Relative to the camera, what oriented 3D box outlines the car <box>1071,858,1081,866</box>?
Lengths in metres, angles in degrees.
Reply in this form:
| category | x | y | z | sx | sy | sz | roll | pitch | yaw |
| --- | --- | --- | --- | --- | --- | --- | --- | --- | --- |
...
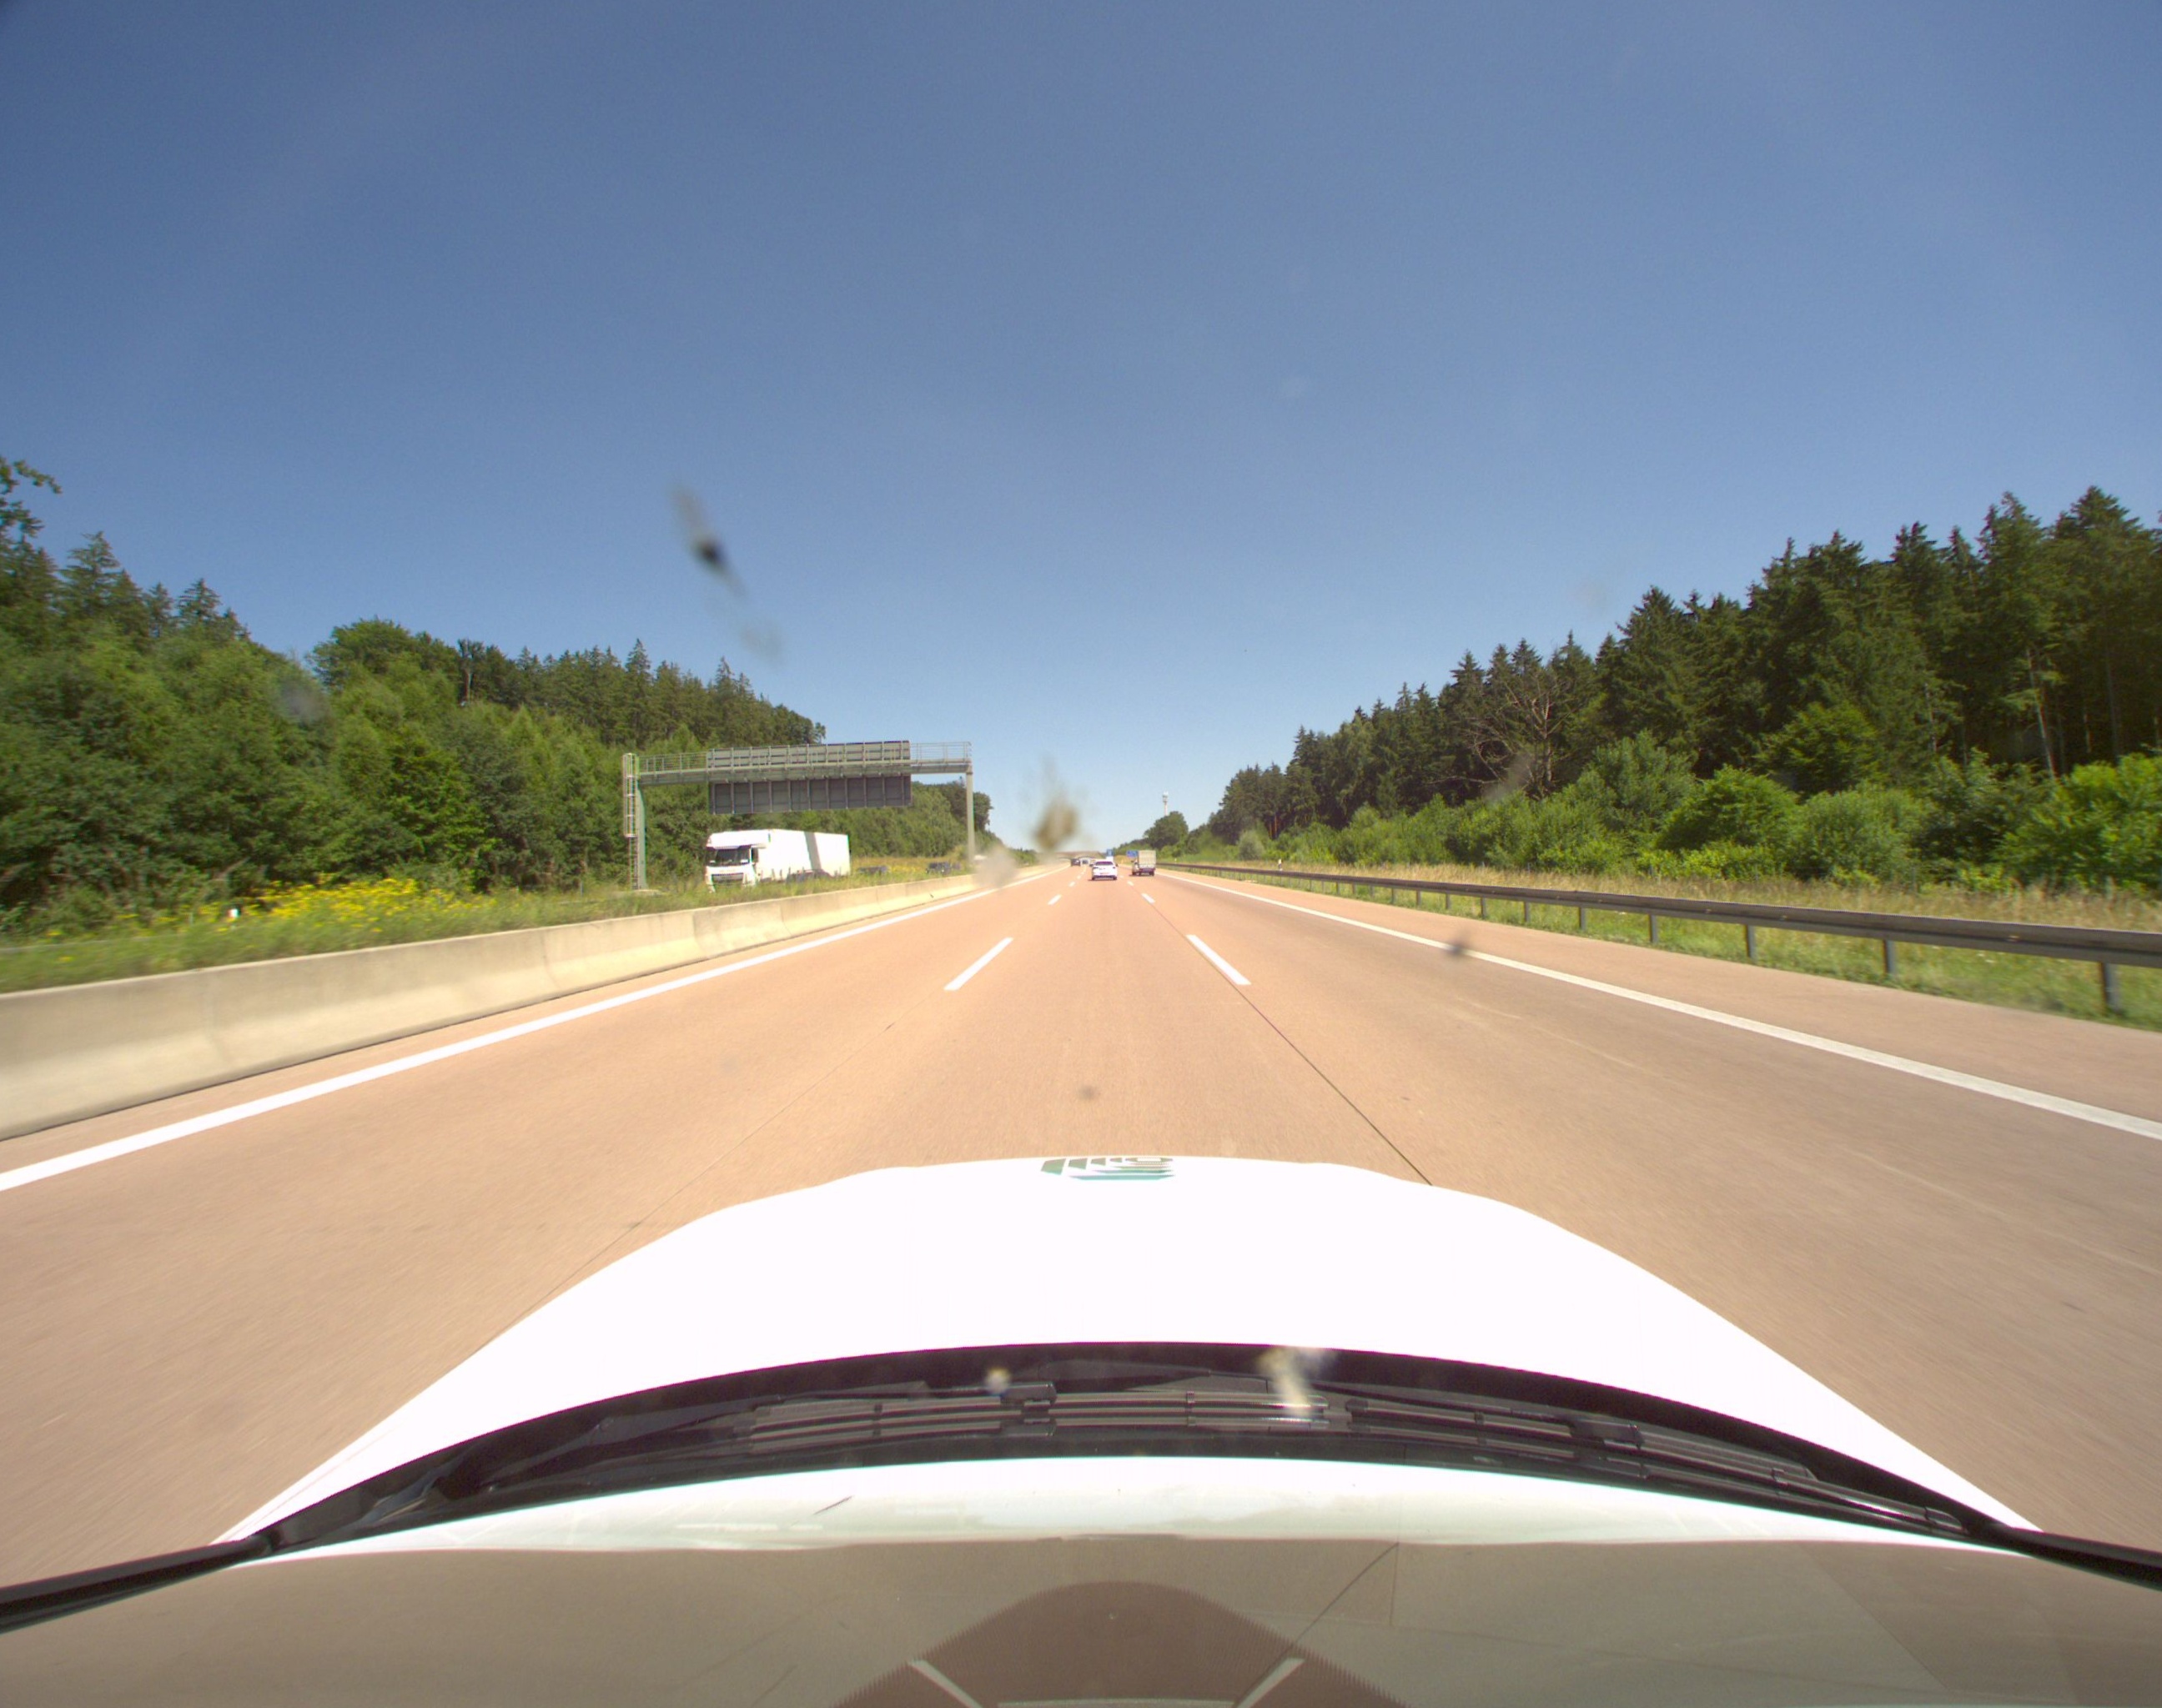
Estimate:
| category | x | y | z | sx | sy | sz | roll | pitch | yaw |
| --- | --- | --- | --- | --- | --- | --- | --- | --- | --- |
| car | -0.932 | 1.543 | 161.458 | 1.883 | 1.463 | 4.002 | -1 | 0 | 2 |

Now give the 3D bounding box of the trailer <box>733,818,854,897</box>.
| category | x | y | z | sx | sy | sz | roll | pitch | yaw |
| --- | --- | --- | --- | --- | --- | --- | --- | --- | --- |
| trailer | -18.069 | 0.206 | 52.538 | 2.693 | 4.434 | 13.197 | -1 | 0 | 2 |

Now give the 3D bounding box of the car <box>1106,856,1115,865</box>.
| category | x | y | z | sx | sy | sz | roll | pitch | yaw |
| --- | --- | --- | --- | --- | --- | --- | --- | --- | --- |
| car | 6.655 | 1.453 | 182.914 | 2.102 | 2.054 | 4.002 | -1 | 0 | 2 |

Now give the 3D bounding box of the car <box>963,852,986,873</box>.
| category | x | y | z | sx | sy | sz | roll | pitch | yaw |
| --- | --- | --- | --- | --- | --- | --- | --- | --- | --- |
| car | -13.977 | 1.105 | 107.162 | 2.225 | 2.686 | 6.098 | -1 | 0 | 0 |

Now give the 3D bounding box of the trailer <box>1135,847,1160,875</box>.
| category | x | y | z | sx | sy | sz | roll | pitch | yaw |
| --- | --- | --- | --- | --- | --- | --- | --- | --- | --- |
| trailer | 5.456 | 0.580 | 67.371 | 1.653 | 2.164 | 4.013 | -1 | -1 | -1 |

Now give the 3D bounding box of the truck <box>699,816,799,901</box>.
| category | x | y | z | sx | sy | sz | roll | pitch | yaw |
| --- | --- | --- | --- | --- | --- | --- | --- | --- | --- |
| truck | -18.308 | 0.250 | 45.393 | 2.693 | 4.380 | 6.480 | -1 | 0 | 2 |

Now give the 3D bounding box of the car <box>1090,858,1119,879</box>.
| category | x | y | z | sx | sy | sz | roll | pitch | yaw |
| --- | --- | --- | --- | --- | --- | --- | --- | --- | --- |
| car | 1.649 | 0.967 | 56.619 | 1.883 | 1.398 | 4.002 | -1 | 0 | 2 |

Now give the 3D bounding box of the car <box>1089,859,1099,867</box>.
| category | x | y | z | sx | sy | sz | roll | pitch | yaw |
| --- | --- | --- | --- | --- | --- | --- | --- | --- | --- |
| car | 2.623 | 1.713 | 161.308 | 1.884 | 1.463 | 4.000 | -1 | 0 | 0 |

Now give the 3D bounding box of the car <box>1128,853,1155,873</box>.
| category | x | y | z | sx | sy | sz | roll | pitch | yaw |
| --- | --- | --- | --- | --- | --- | --- | --- | --- | --- |
| car | 5.312 | 0.790 | 71.895 | 1.885 | 1.728 | 5.183 | -1 | -1 | -1 |

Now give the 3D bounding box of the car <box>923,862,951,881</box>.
| category | x | y | z | sx | sy | sz | roll | pitch | yaw |
| --- | --- | --- | --- | --- | --- | --- | --- | --- | --- |
| car | -13.588 | 1.604 | 76.831 | 1.884 | 1.655 | 4.000 | -1 | 0 | 0 |
